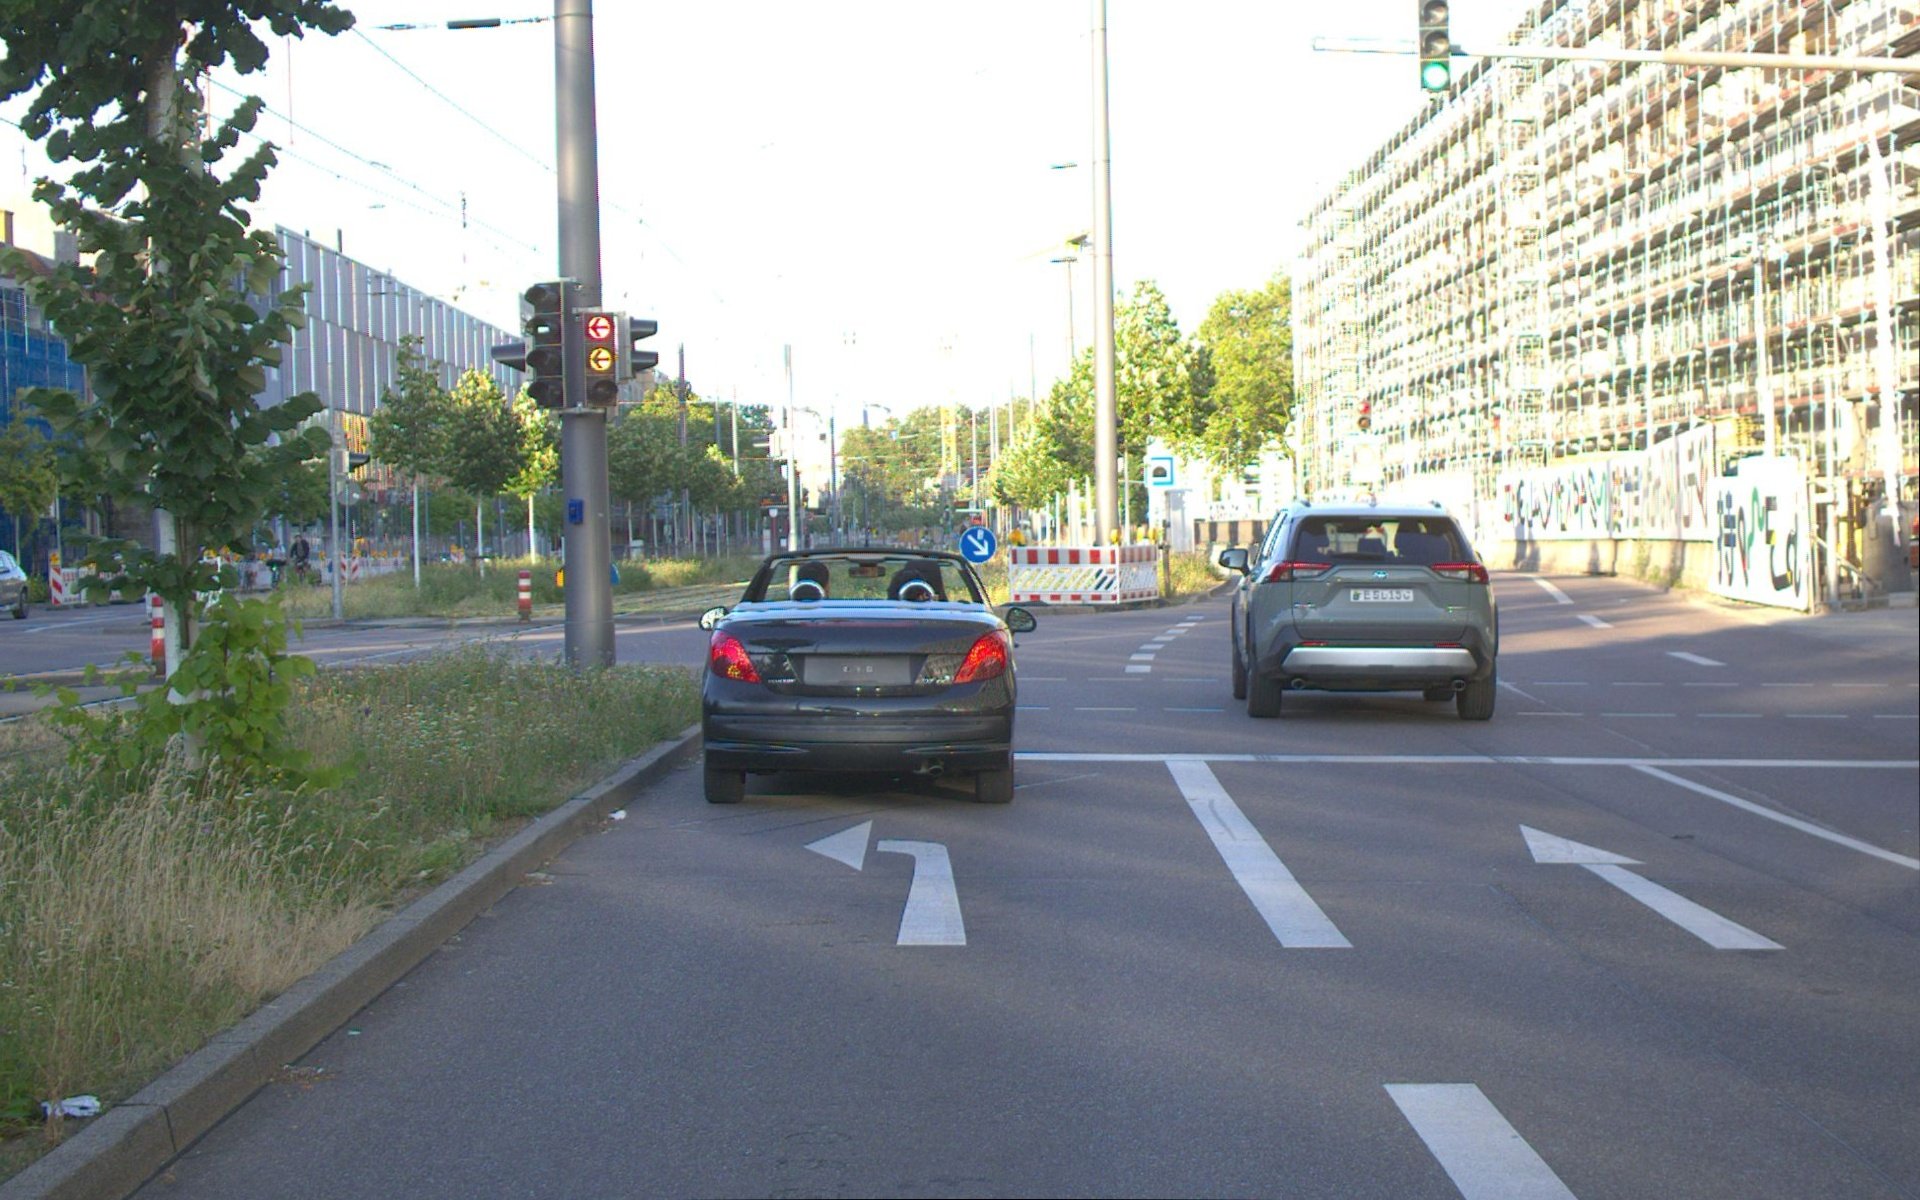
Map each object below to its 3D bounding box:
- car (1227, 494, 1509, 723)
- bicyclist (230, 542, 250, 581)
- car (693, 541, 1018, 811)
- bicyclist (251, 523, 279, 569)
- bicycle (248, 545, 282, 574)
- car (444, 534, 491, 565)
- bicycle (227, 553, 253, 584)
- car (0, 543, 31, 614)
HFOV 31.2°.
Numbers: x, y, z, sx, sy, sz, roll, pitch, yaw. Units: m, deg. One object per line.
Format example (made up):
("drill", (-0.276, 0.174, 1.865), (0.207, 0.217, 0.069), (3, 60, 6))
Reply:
("car", (3.136, 0.002, 27.181), (1.834, 1.666, 4.282), (0, 2, 2))
("bicyclist", (-23.928, -1.283, 114.290), (0.590, 1.262, 0.460), (1, 1, -3))
("car", (-0.557, 0.358, 19.743), (1.674, 1.347, 4.000), (0, 2, 0))
("bicyclist", (-23.911, -1.875, 118.368), (0.772, 1.565, 0.793), (1, 1, 2))
("bicycle", (-23.920, -1.400, 118.378), (0.772, 0.942, 1.640), (1, 2, 2))
("car", (-23.854, -2.463, 166.629), (1.658, 1.426, 3.895), (1, 2, 1))
("bicycle", (-23.933, -1.056, 114.295), (0.590, 0.985, 1.556), (1, 2, -3))
("car", (-22.633, -0.431, 77.778), (1.993, 1.574, 4.124), (-3, 2, 1))
